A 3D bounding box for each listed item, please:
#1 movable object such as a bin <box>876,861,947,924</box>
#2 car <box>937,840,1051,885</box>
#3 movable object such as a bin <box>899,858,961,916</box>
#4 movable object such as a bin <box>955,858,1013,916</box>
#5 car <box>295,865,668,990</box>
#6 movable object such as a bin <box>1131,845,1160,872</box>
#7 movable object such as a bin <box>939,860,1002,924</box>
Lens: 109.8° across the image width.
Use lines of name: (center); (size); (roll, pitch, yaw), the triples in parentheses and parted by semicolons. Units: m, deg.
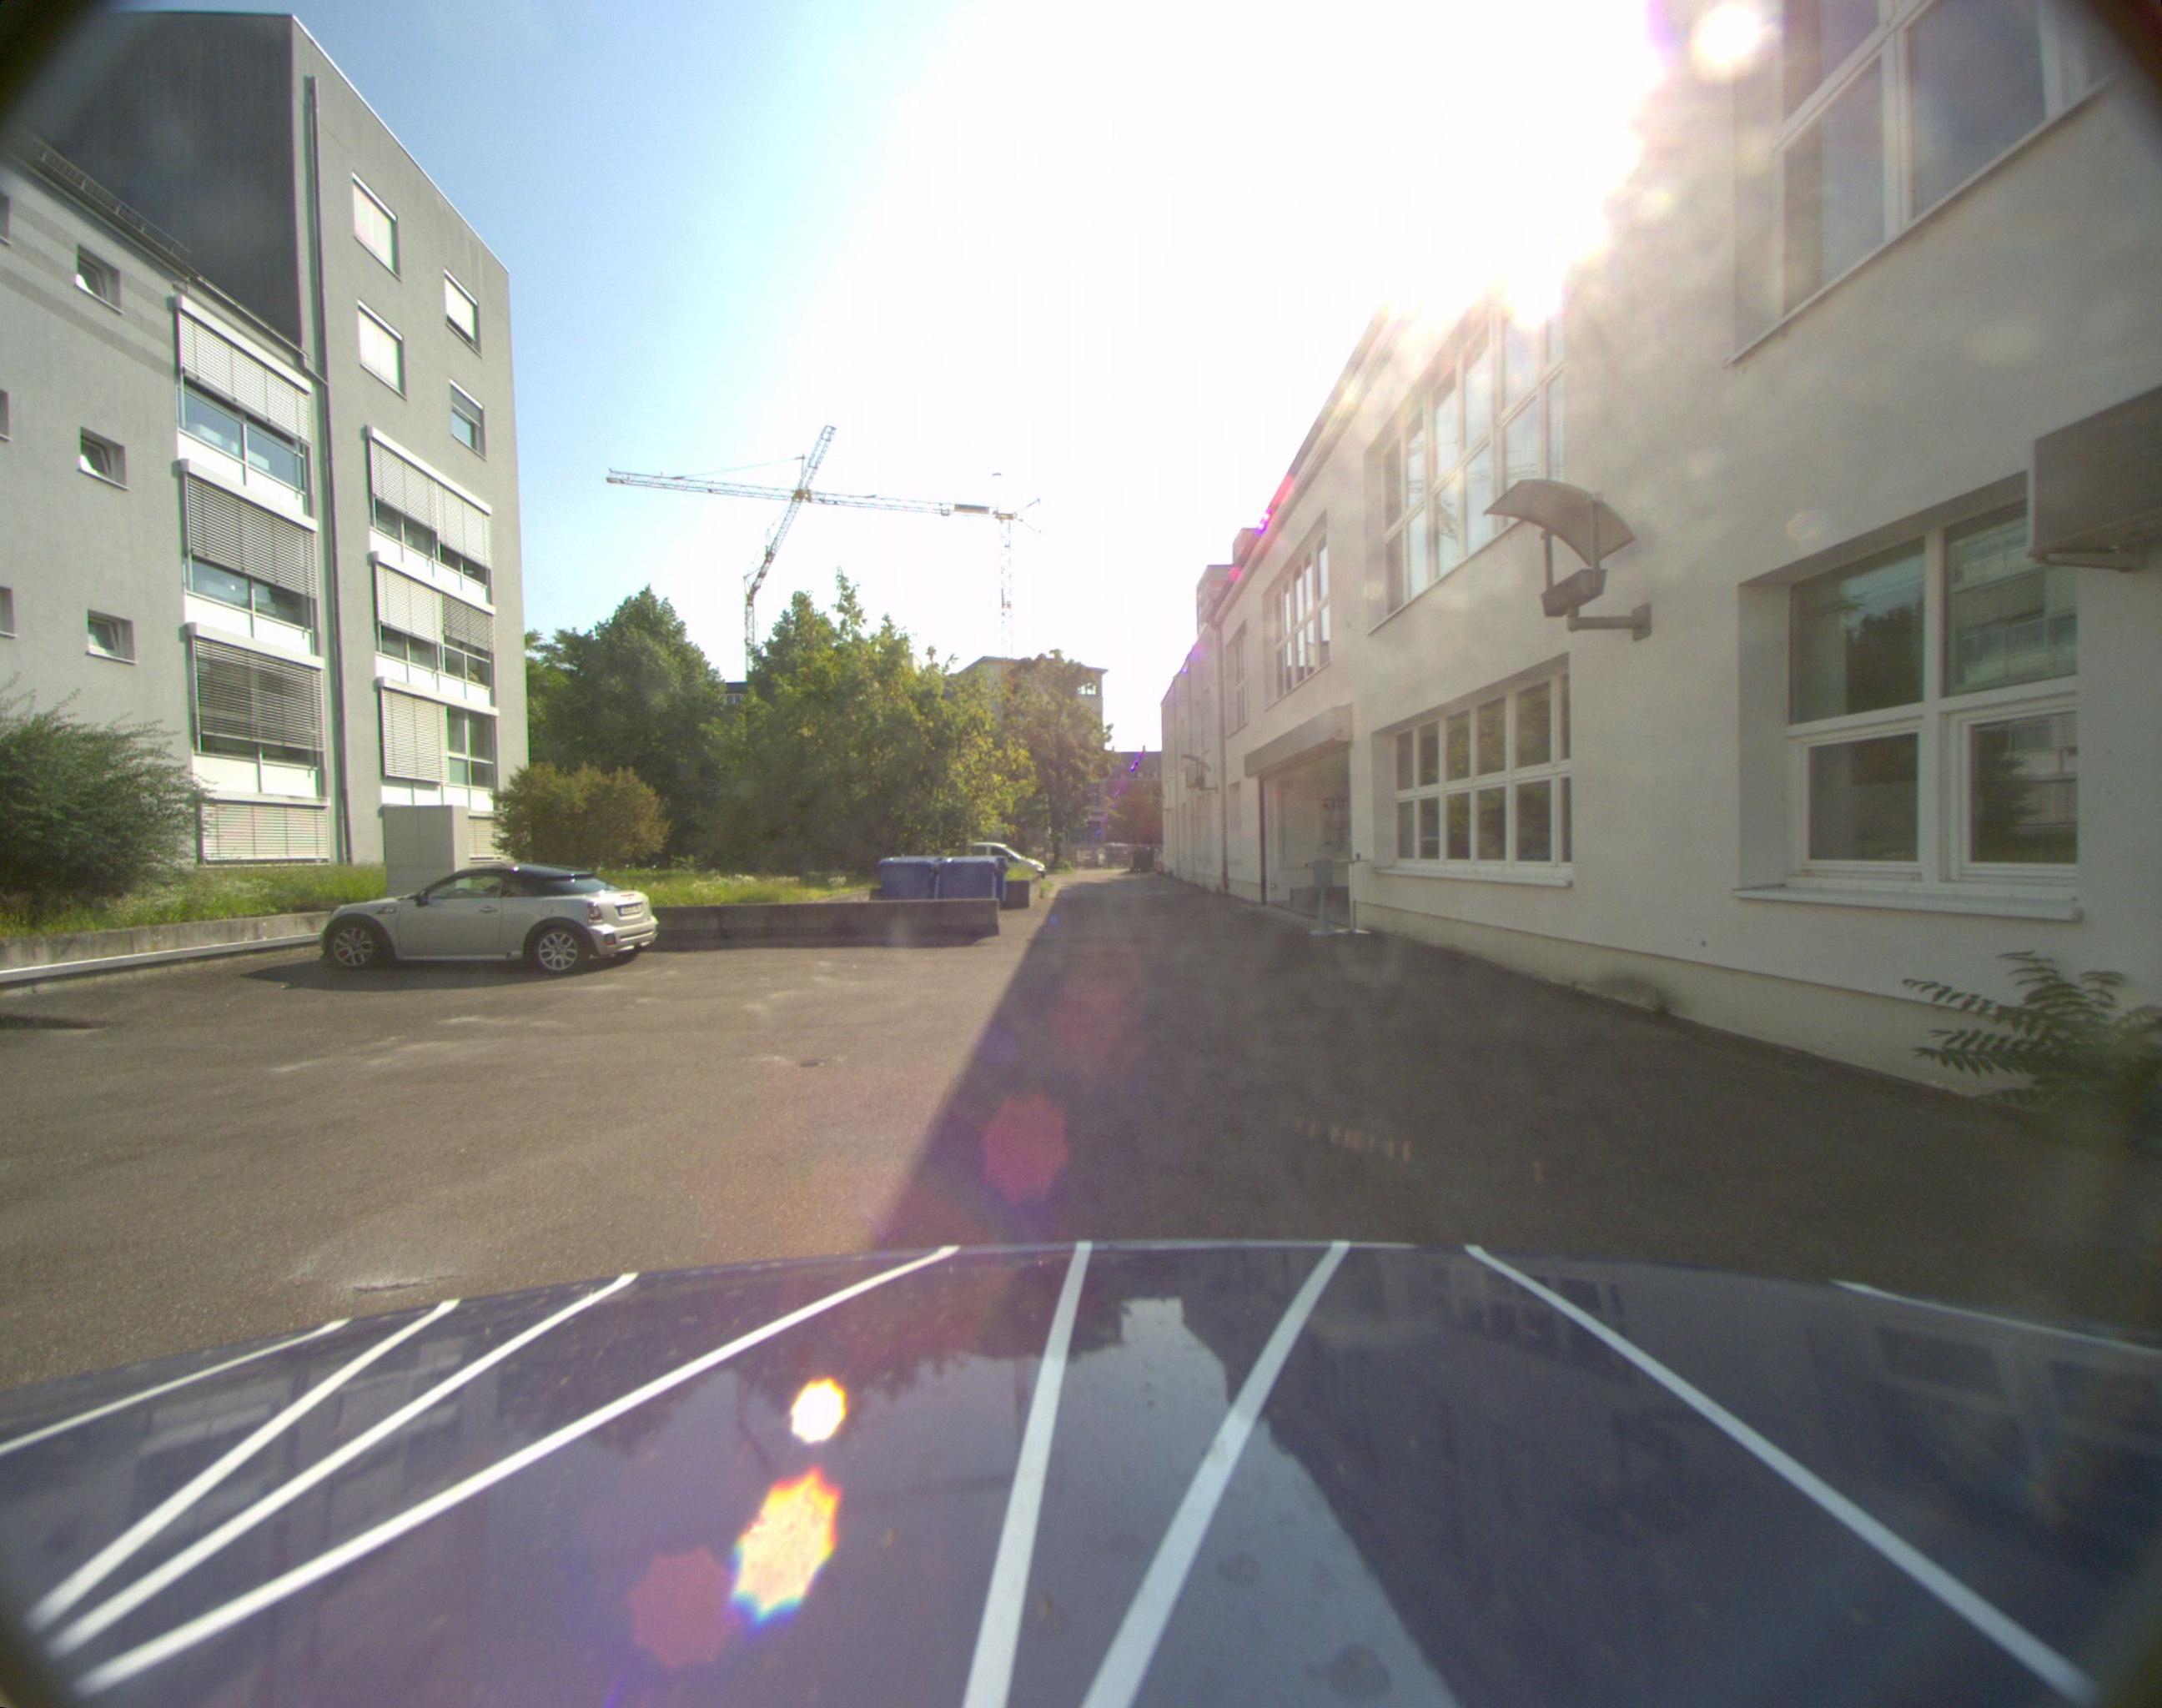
movable object such as a bin: (-3.792, 0.841, 17.136); (1.257, 1.320, 1.275); (-2, 1, 1)
car: (-3.836, 0.368, 34.092); (4.789, 1.920, 1.909); (-1, 1, 2)
movable object such as a bin: (-3.691, 0.794, 18.725); (1.199, 1.320, 1.275); (-2, 1, 1)
movable object such as a bin: (-2.365, 0.780, 18.641); (1.199, 1.320, 1.275); (-2, 1, 1)
car: (-7.795, 0.913, 10.161); (3.580, 1.429, 1.658); (-1, 1, -3)
movable object such as a bin: (3.667, 0.235, 43.479); (1.524, 1.457, 1.275); (-2, 1, 0)
movable object such as a bin: (-2.456, 0.823, 17.065); (1.214, 1.343, 1.275); (-2, 1, -1)
